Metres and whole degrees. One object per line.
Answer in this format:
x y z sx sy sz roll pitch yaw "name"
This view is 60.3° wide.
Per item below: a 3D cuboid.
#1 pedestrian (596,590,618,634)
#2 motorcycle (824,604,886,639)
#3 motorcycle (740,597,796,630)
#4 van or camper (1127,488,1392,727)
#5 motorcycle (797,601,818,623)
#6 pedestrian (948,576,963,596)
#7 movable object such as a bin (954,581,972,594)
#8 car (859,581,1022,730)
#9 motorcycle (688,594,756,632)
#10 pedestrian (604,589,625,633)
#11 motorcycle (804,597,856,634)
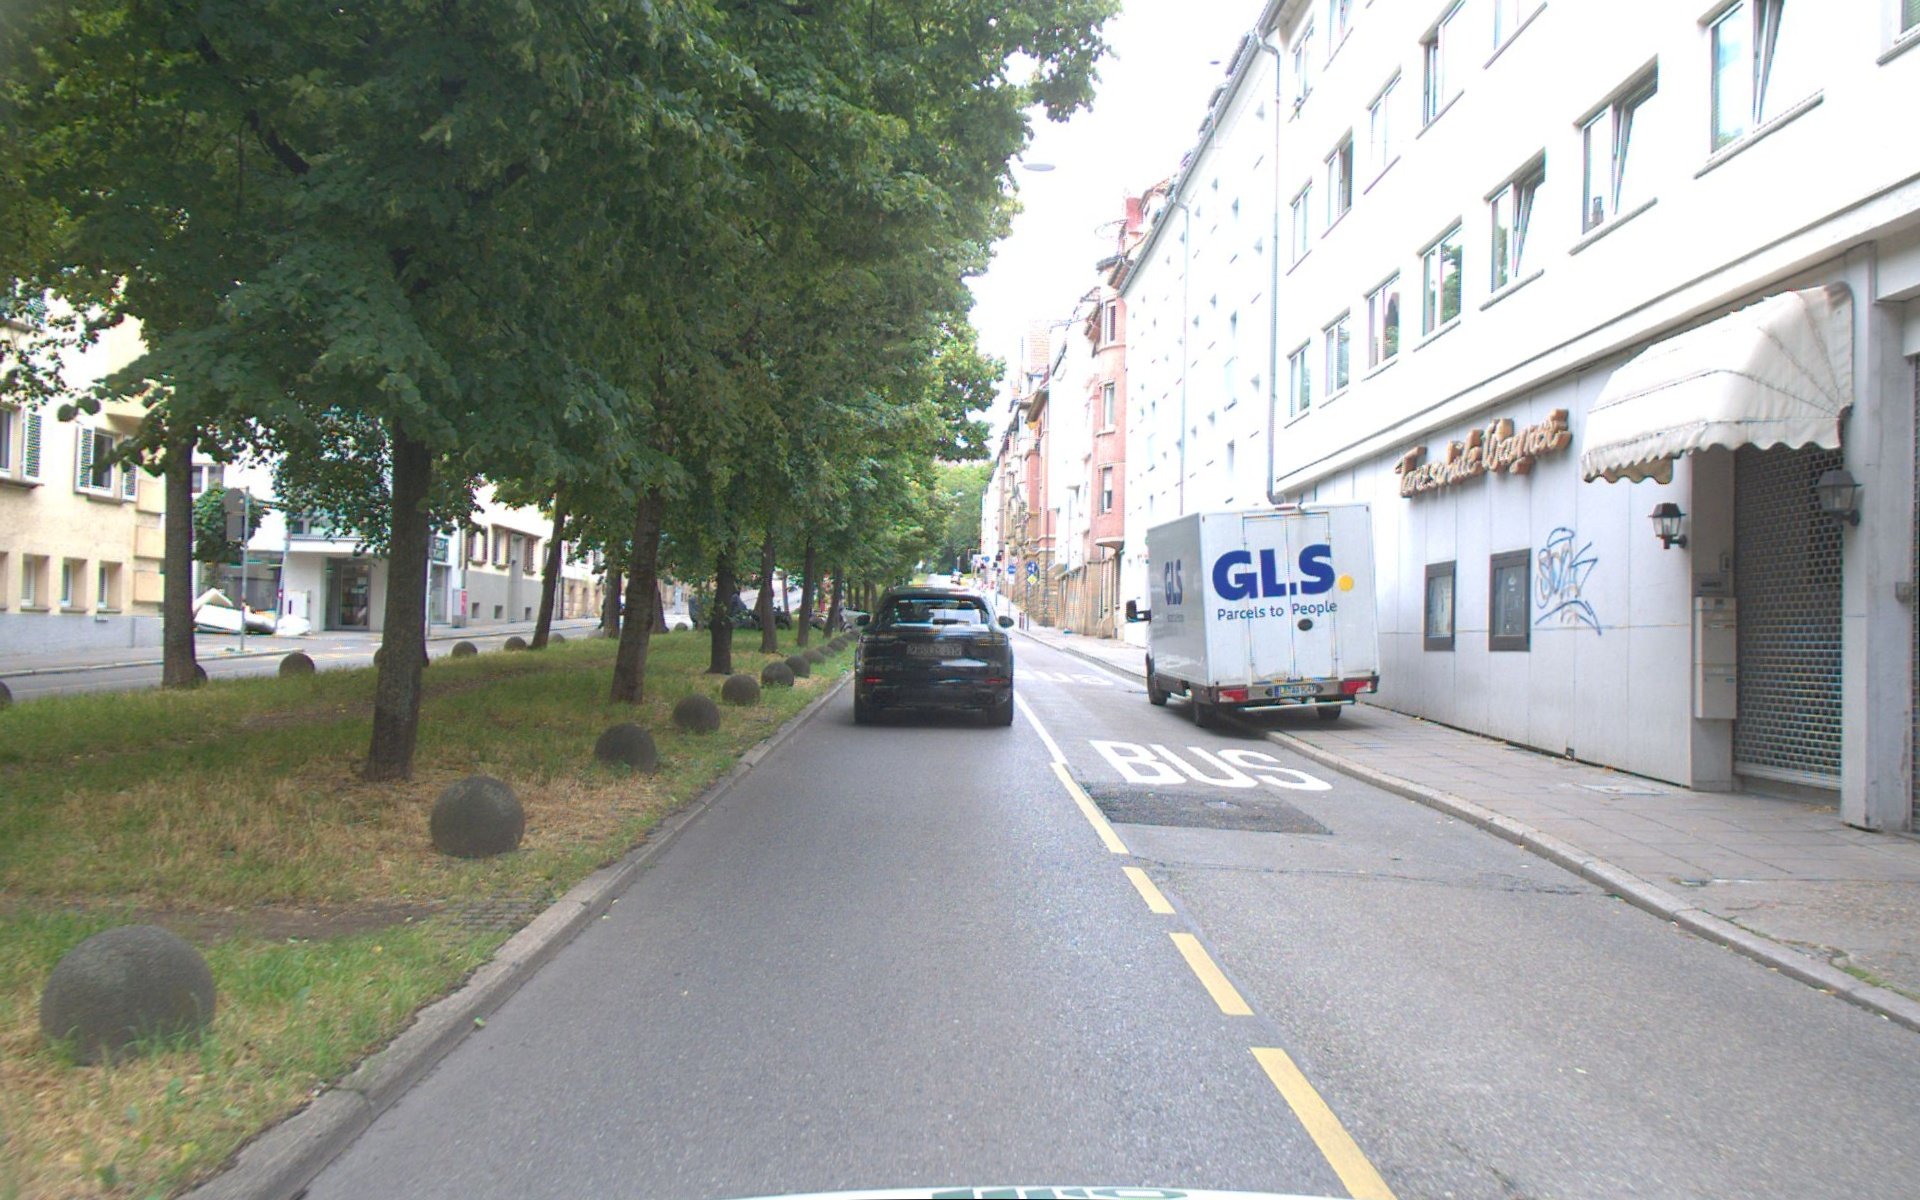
-13.201 0.446 61.895 0.621 1.641 0.764 2 0 0 "pedestrian"
-4.040 0.818 63.737 2.308 1.257 1.033 1 1 -2 "motorcycle"
-7.452 0.529 64.168 1.986 1.257 0.897 1 0 4 "motorcycle"
4.021 0.090 23.802 2.429 2.852 7.237 -1 0 0 "van or camper"
-8.105 0.664 88.066 0.882 1.126 2.251 0 -2 0 "motorcycle"
-0.463 -1.429 173.339 1.286 2.049 1.011 1 0 -27 "pedestrian"
0.292 -1.262 172.086 1.223 1.296 1.829 1 0 -28 "movable object such as a bin"
-0.306 0.644 21.299 1.865 1.695 4.133 1 0 -2 "car"
-8.743 0.465 60.903 2.334 1.340 1.045 1 0 -2 "motorcycle"
-13.128 0.409 62.867 0.649 1.644 0.579 1 0 1 "pedestrian"
-4.790 0.591 61.022 1.886 1.319 0.893 1 -2 -3 "motorcycle"
